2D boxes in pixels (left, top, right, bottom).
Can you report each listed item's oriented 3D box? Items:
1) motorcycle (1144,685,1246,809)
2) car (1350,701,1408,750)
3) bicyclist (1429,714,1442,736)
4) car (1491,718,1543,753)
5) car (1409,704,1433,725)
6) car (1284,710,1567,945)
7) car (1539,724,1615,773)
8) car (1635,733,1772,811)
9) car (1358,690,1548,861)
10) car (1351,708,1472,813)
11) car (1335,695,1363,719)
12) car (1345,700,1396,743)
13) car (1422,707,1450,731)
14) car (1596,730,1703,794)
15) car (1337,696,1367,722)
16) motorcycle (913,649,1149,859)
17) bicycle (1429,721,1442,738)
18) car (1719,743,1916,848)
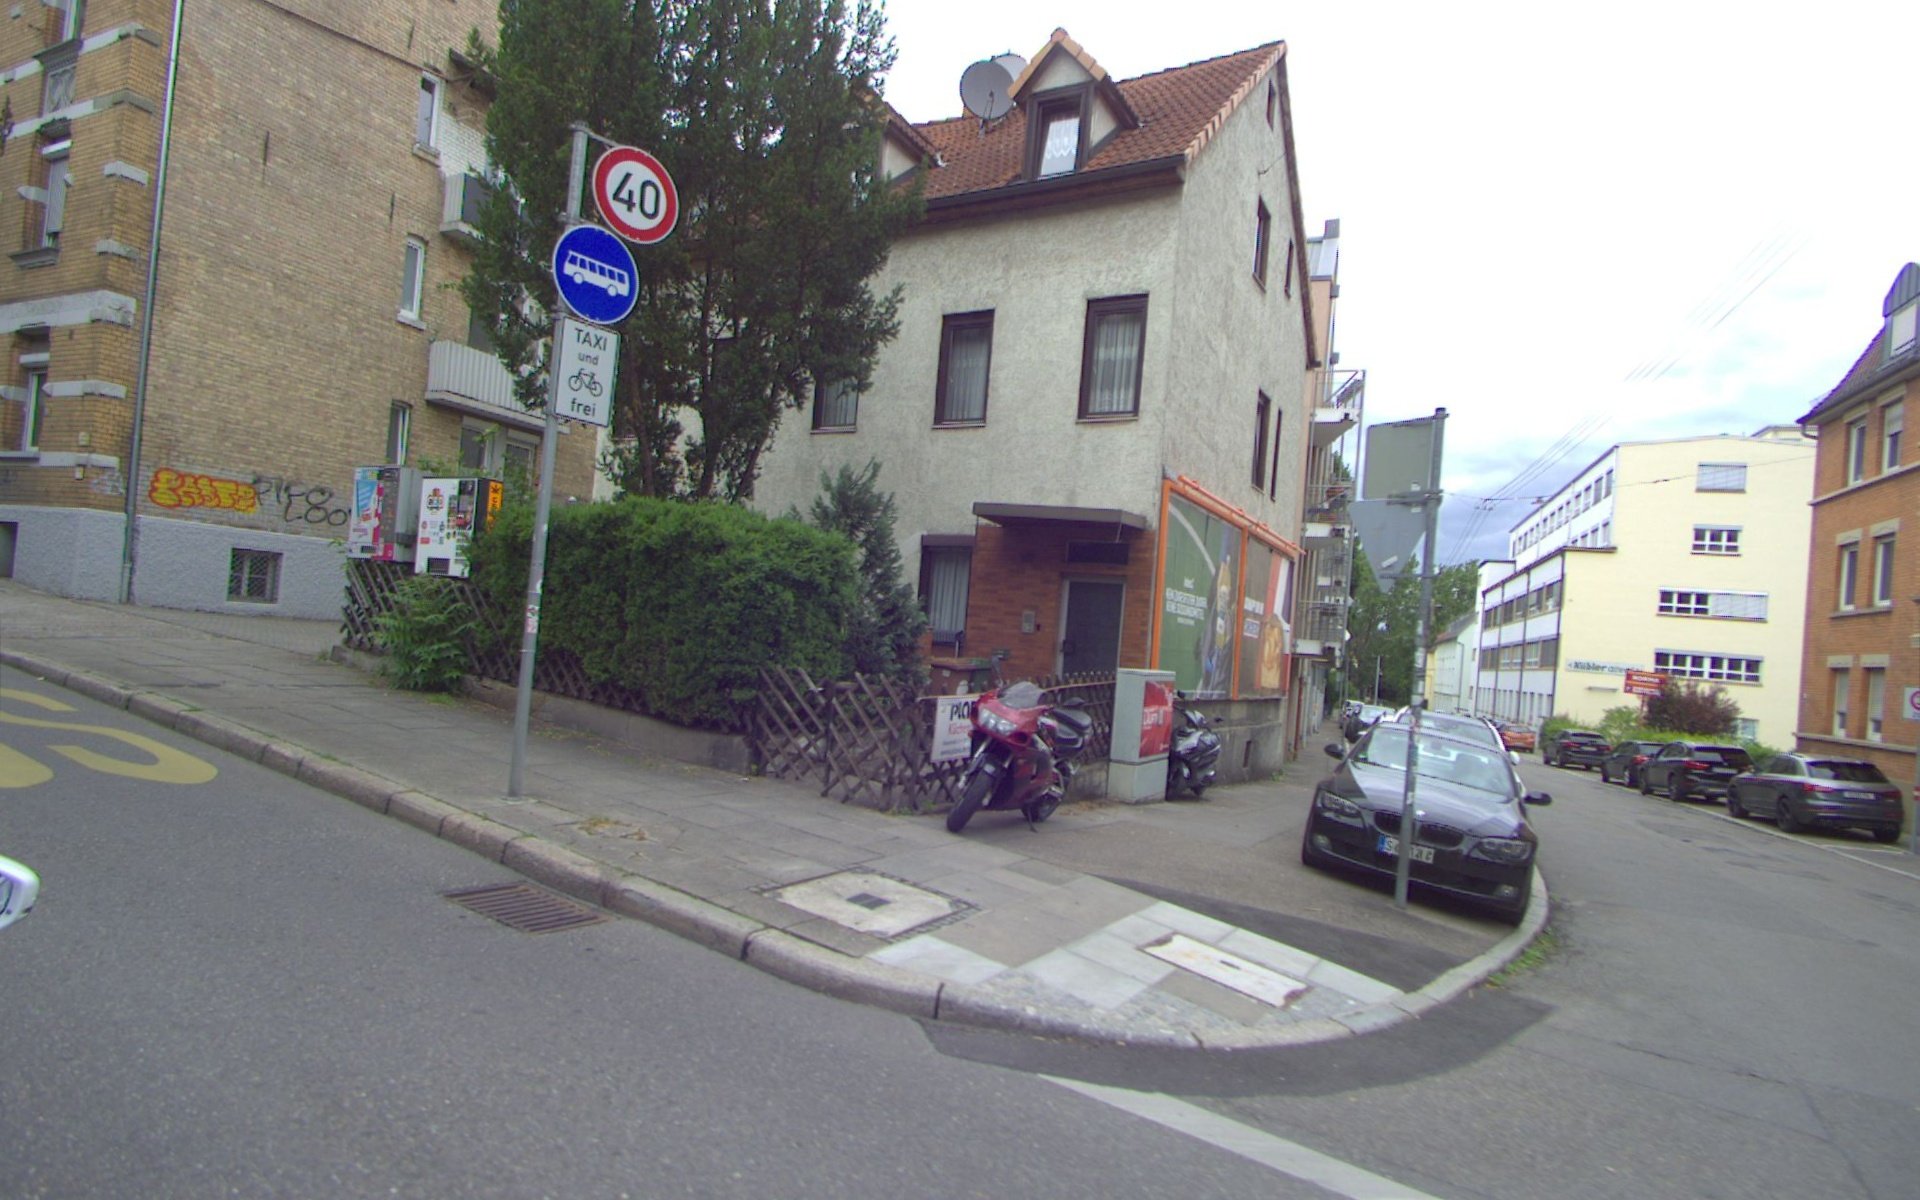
[{"bbox_3d":[2.966,1.810,12.579,0.700,1.359,1.458,8,-2,30],"label":"motorcycle"},{"bbox_3d":[16.762,4.994,40.405,1.772,1.586,3.984,6,-2,19],"label":"car"},{"bbox_3d":[32.959,8.671,69.695,0.695,1.395,0.973,5,-2,27],"label":"bicyclist"},{"bbox_3d":[30.436,7.381,55.115,1.773,1.586,3.984,3,-3,19],"label":"car"},{"bbox_3d":[51.060,12.700,111.467,1.808,1.936,3.984,6,-2,19],"label":"car"},{"bbox_3d":[4.433,1.883,9.459,1.752,1.300,4.135,11,0,28],"label":"car"},{"bbox_3d":[25.109,6.020,41.048,1.773,1.586,3.984,3,-3,19],"label":"car"},{"bbox_3d":[19.719,4.511,26.869,1.773,1.586,3.984,3,-3,19],"label":"car"},{"bbox_3d":[6.818,2.331,14.129,1.841,1.682,4.318,9,-2,25],"label":"car"},{"bbox_3d":[8.860,3.073,20.049,1.761,1.470,4.317,9,-1,21],"label":"car"},{"bbox_3d":[30.861,8.493,79.858,1.772,1.586,3.984,6,-2,19],"label":"car"},{"bbox_3d":[18.695,5.516,45.979,1.772,1.586,3.984,6,-2,19],"label":"car"},{"bbox_3d":[46.013,11.478,97.333,1.808,1.936,3.984,6,-2,19],"label":"car"},{"bbox_3d":[21.906,5.110,32.114,1.773,1.586,3.984,3,-3,19],"label":"car"},{"bbox_3d":[29.240,8.120,75.200,1.772,1.586,3.984,6,-2,19],"label":"car"},{"bbox_3d":[0.642,1.149,7.917,0.992,1.282,2.062,8,-2,26],"label":"motorcycle"},{"bbox_3d":[32.942,8.968,69.693,0.695,1.093,2.023,5,-2,27],"label":"bicycle"},{"bbox_3d":[17.806,3.990,21.130,1.773,1.586,3.984,3,-3,19],"label":"car"}]
